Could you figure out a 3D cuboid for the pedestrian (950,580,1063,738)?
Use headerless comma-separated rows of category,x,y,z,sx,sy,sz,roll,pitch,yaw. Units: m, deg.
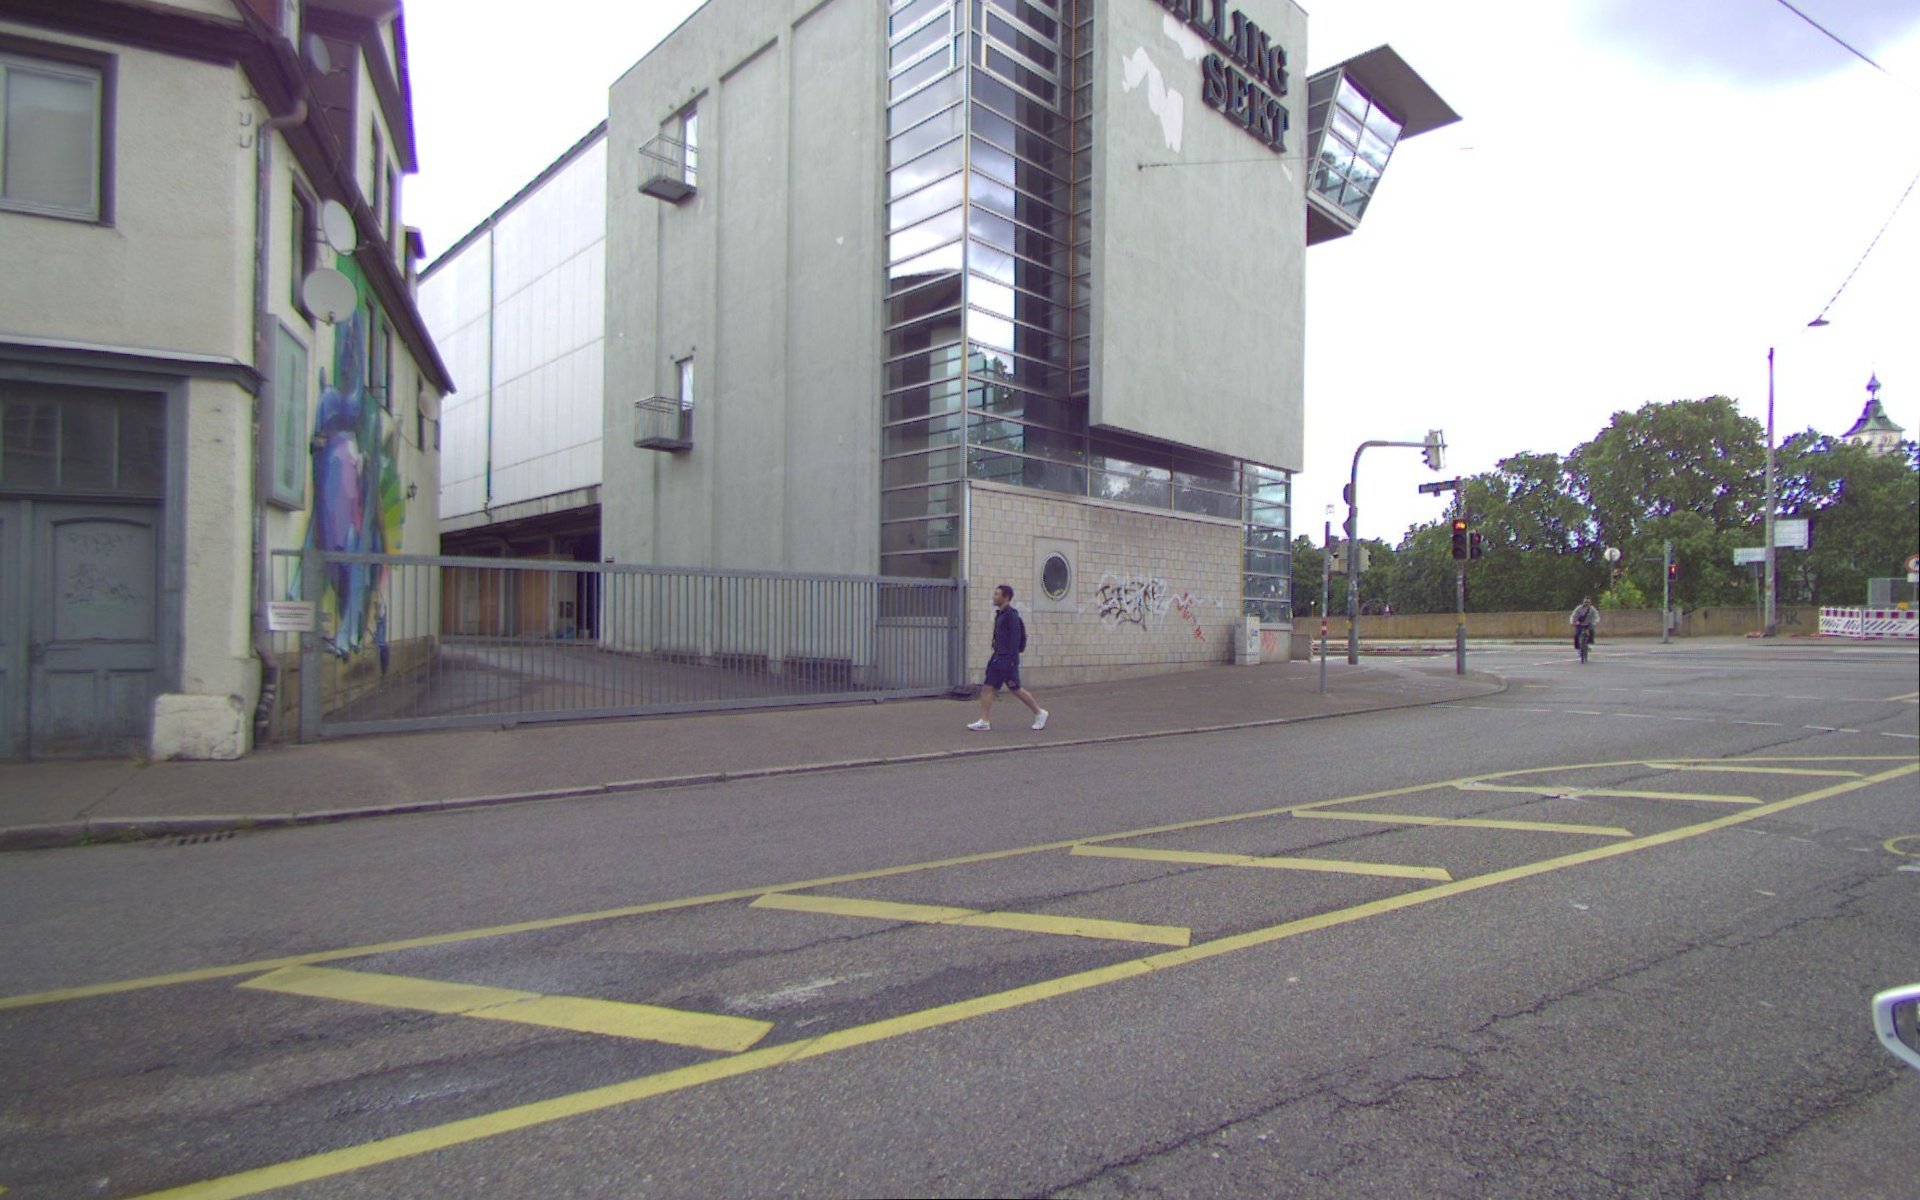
pedestrian,0.586,0.707,12.858,1.077,1.911,1.050,-1,1,-27

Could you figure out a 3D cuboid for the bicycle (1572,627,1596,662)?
bicycle,17.093,1.197,27.528,0.533,0.904,1.876,0,-1,32

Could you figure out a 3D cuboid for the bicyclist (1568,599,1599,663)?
bicyclist,16.986,0.837,27.366,0.713,1.723,0.809,0,-1,33
